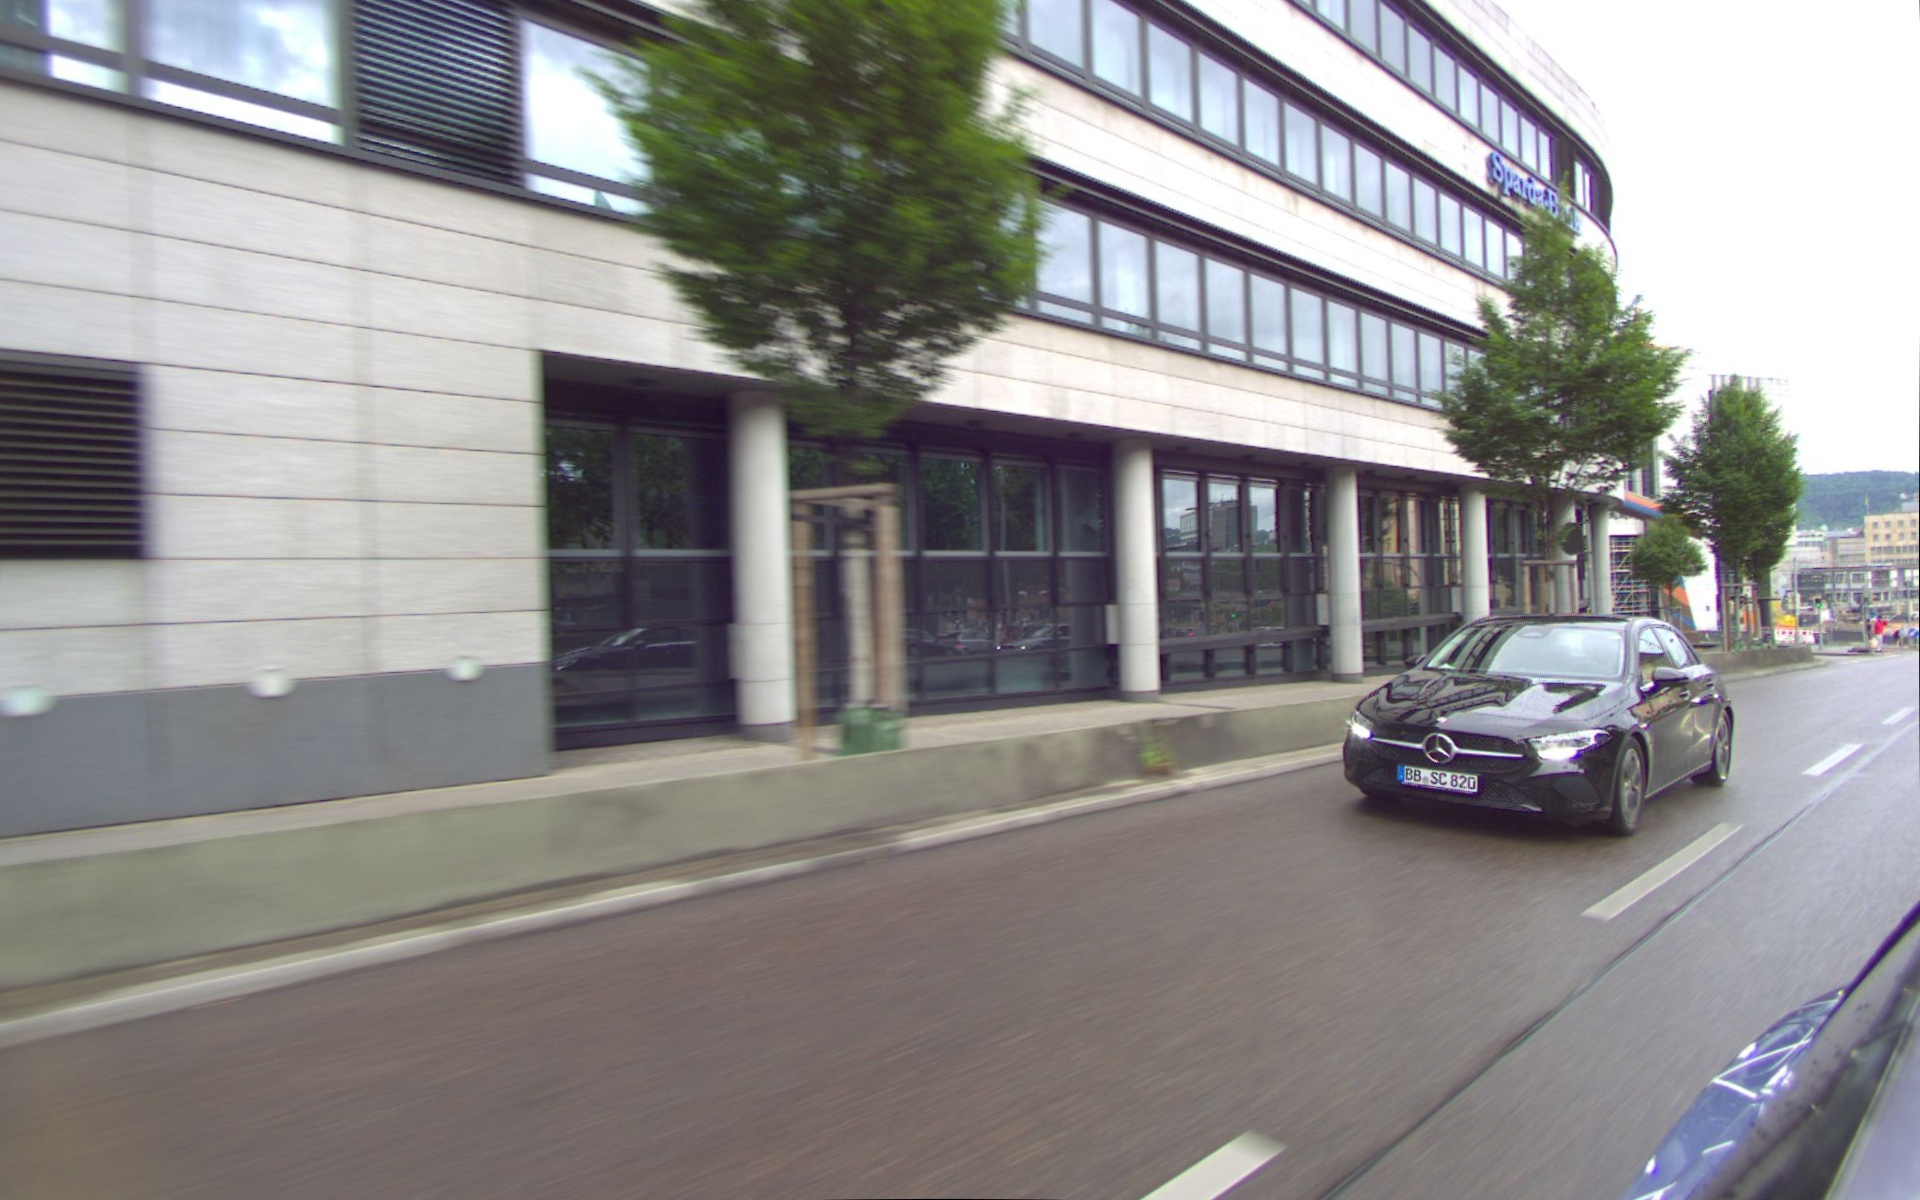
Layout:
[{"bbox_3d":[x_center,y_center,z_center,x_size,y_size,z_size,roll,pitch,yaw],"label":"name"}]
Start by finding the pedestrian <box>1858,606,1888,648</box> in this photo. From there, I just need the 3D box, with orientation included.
[{"bbox_3d":[44.442,1.300,49.249,0.753,1.971,0.992,0,0,-39],"label":"pedestrian"}]

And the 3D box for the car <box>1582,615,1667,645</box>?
[{"bbox_3d":[40.289,1.790,61.392,1.813,1.640,3.991,0,0,-43],"label":"car"}]

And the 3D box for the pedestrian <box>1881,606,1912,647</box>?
[{"bbox_3d":[45.708,1.271,49.406,0.972,1.971,0.768,0,0,-23],"label":"pedestrian"}]
